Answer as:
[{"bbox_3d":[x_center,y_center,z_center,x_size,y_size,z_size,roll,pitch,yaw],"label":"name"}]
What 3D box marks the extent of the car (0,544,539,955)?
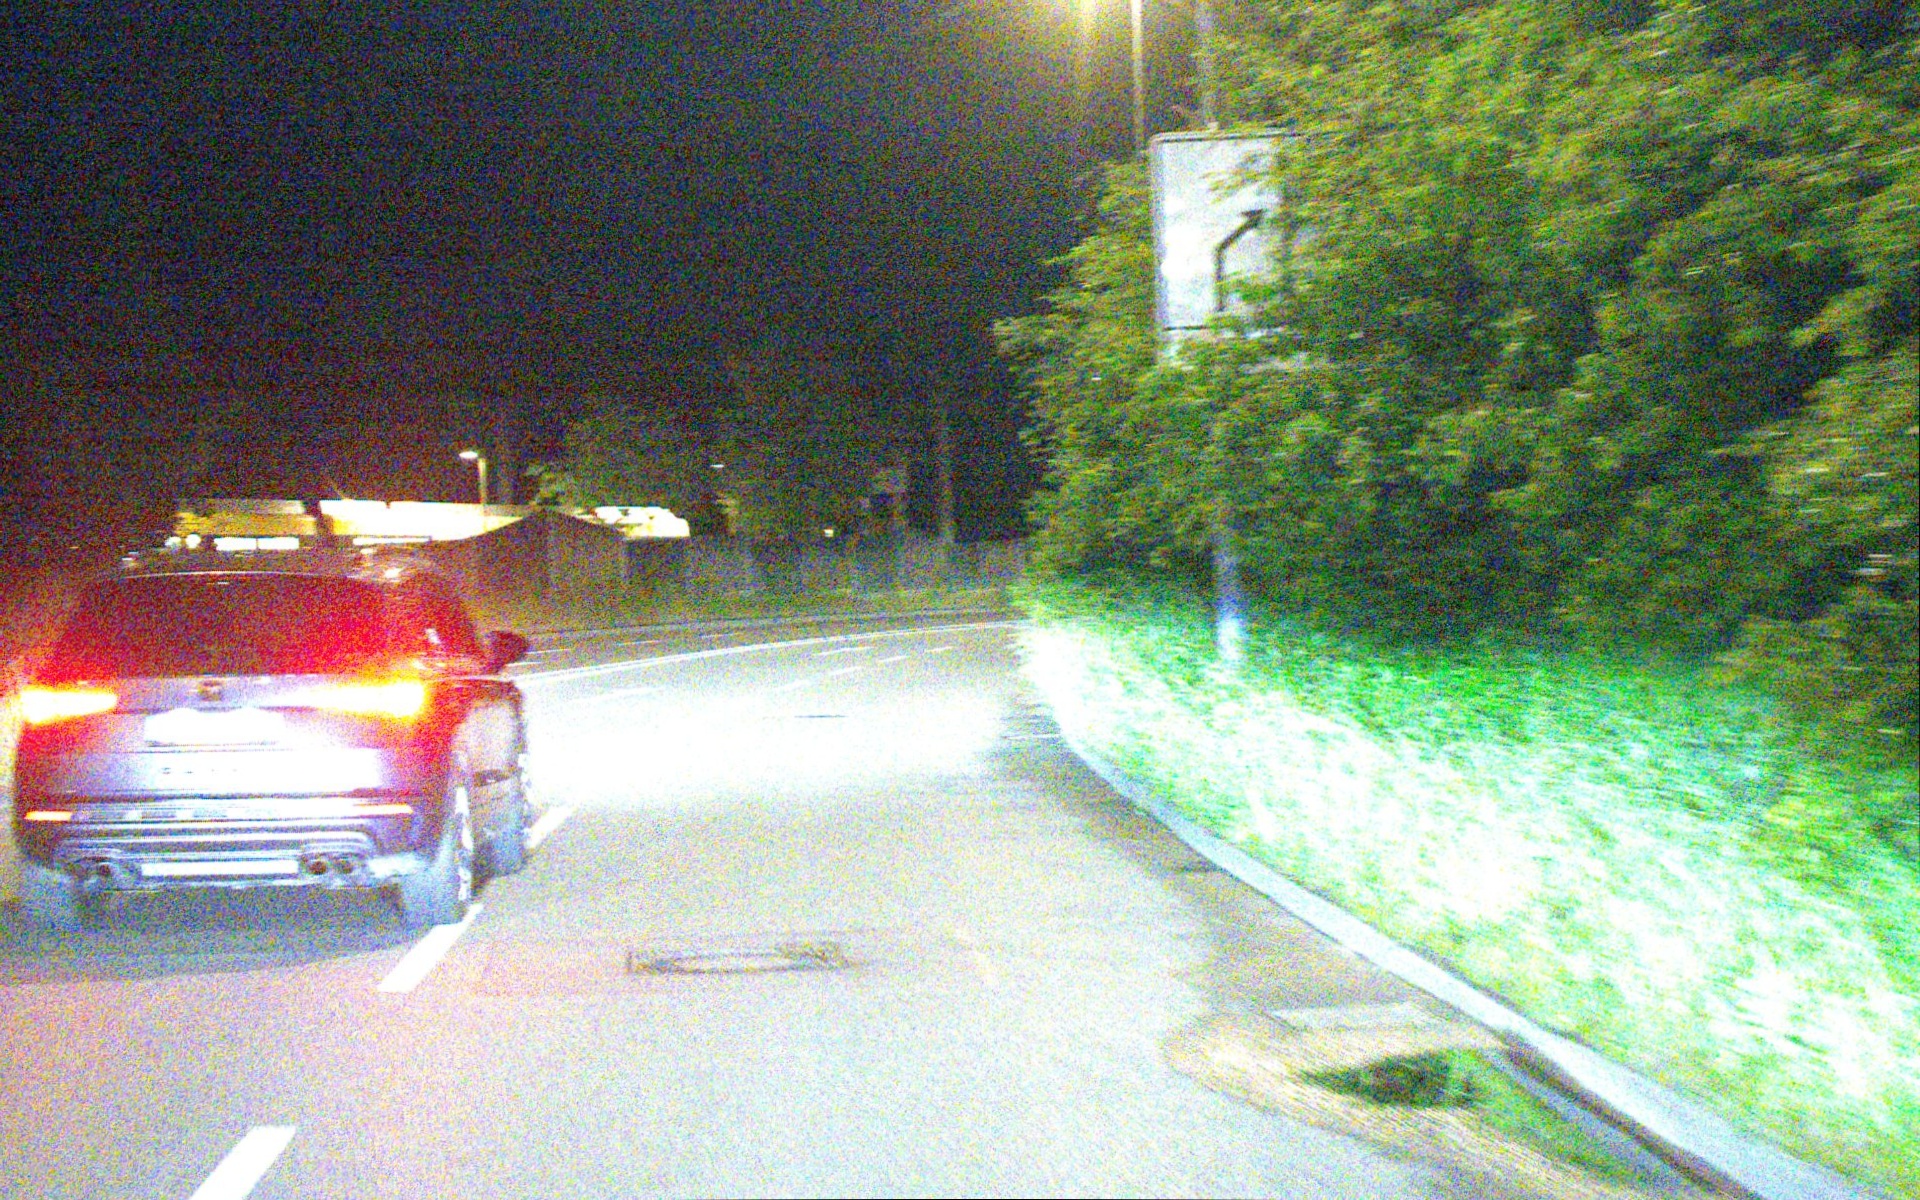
[{"bbox_3d":[-2.952,0.554,15.299,1.851,1.577,4.007,0,1,-3],"label":"car"}]
